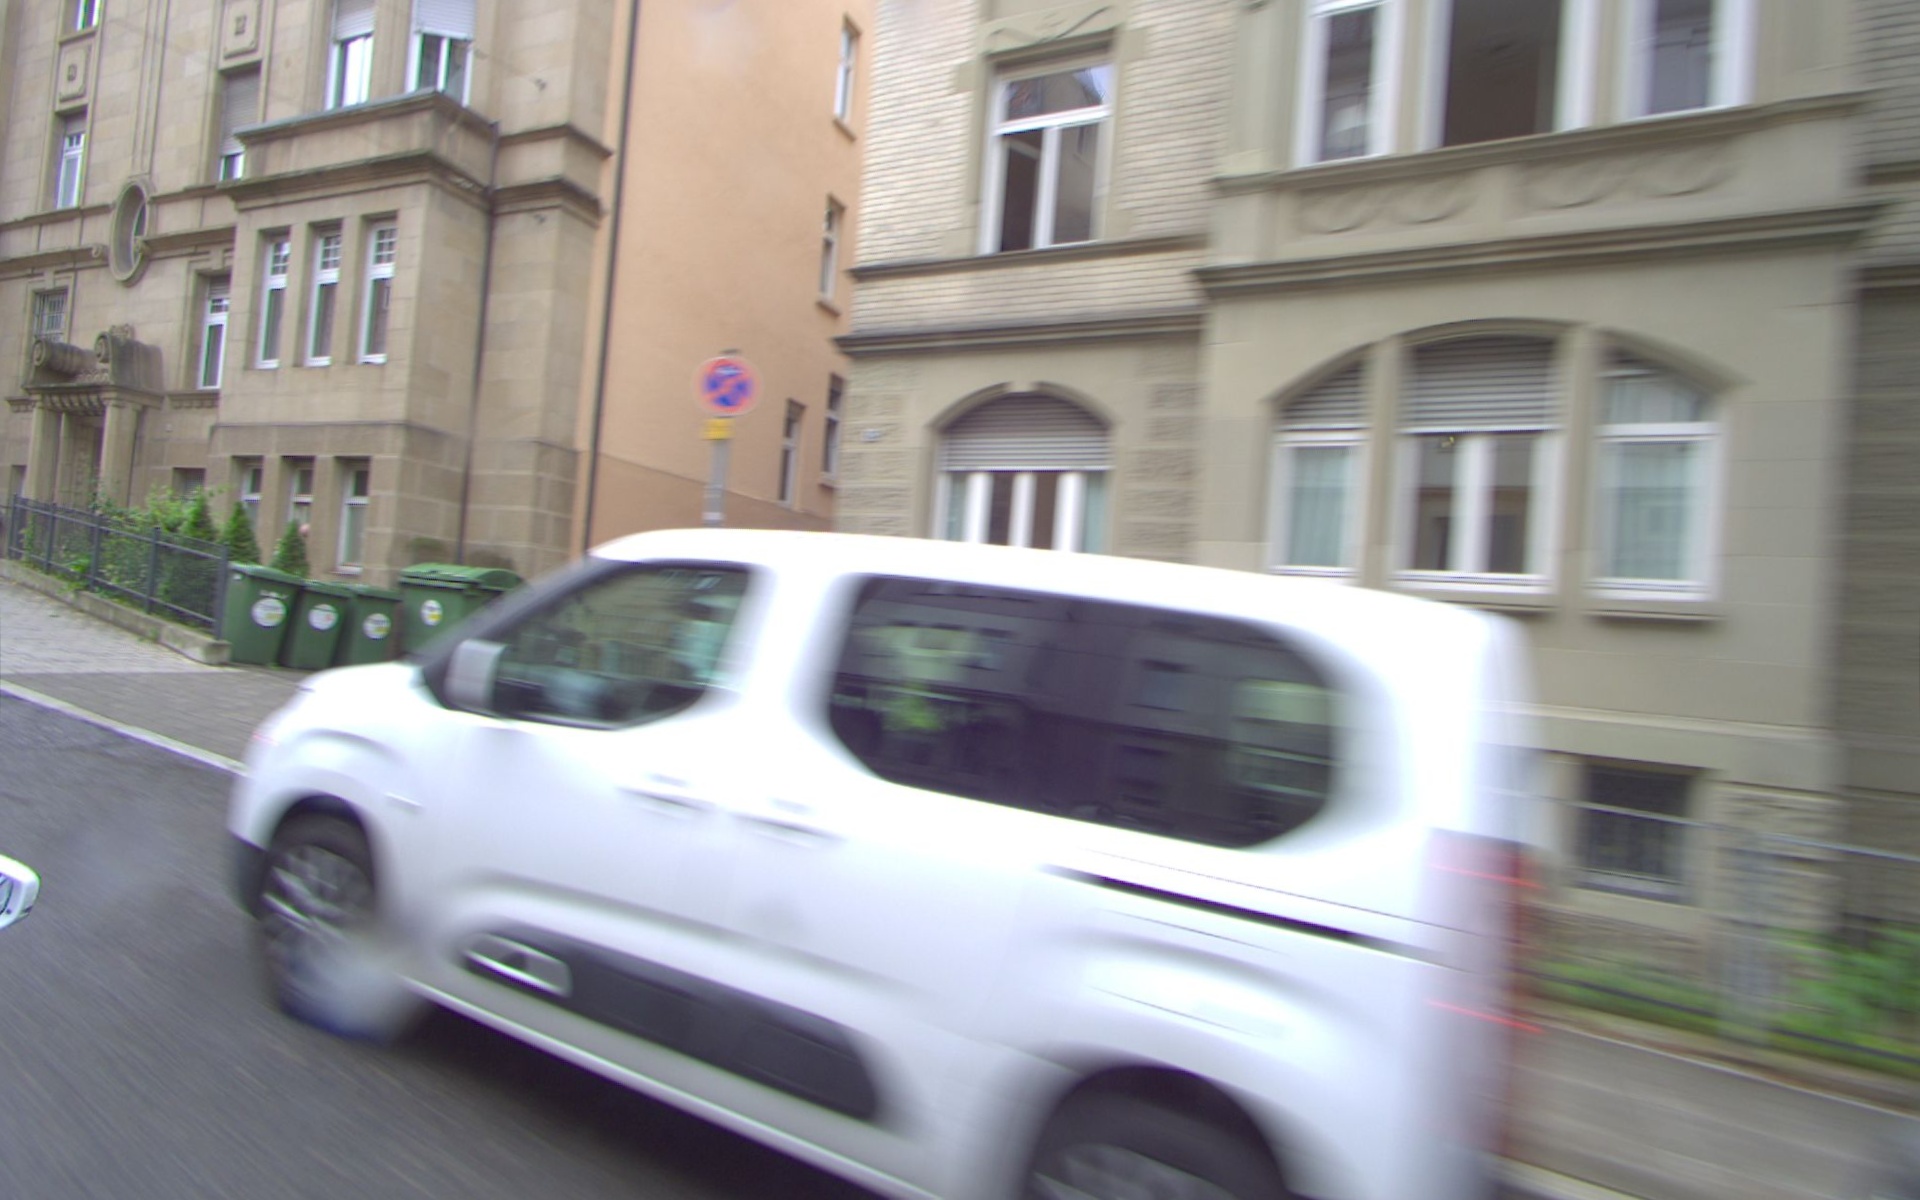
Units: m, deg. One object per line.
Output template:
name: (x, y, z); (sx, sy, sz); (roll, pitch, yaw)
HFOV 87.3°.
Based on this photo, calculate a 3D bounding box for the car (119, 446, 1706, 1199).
car: (-0.483, 0.697, 3.399); (4.383, 1.784, 1.804); (7, -3, 26)

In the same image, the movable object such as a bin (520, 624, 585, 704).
movable object such as a bin: (-5.273, 0.829, 13.019); (0.510, 0.952, 0.395); (6, -5, 24)

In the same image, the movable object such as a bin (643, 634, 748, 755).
movable object such as a bin: (-2.551, 0.915, 9.707); (0.653, 1.041, 0.529); (6, -4, 33)

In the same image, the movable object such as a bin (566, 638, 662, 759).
movable object such as a bin: (-2.966, 0.830, 8.629); (0.527, 0.931, 0.427); (8, 2, 24)

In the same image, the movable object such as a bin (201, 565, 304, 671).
movable object such as a bin: (-7.702, 0.203, 10.959); (0.593, 1.036, 0.540); (6, -5, 24)

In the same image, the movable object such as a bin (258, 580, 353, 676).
movable object such as a bin: (-7.466, 0.323, 11.485); (0.593, 0.978, 0.540); (6, -5, 24)

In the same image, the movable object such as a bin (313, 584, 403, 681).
movable object such as a bin: (-7.220, 0.392, 12.079); (0.593, 1.036, 0.540); (6, -5, 24)

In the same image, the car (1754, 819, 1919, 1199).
car: (3.896, 1.482, 1.119); (4.400, 1.416, 1.755); (7, -3, 28)

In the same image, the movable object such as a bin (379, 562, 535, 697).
movable object such as a bin: (-6.280, 0.384, 12.593); (1.256, 1.446, 0.976); (6, -5, 24)
